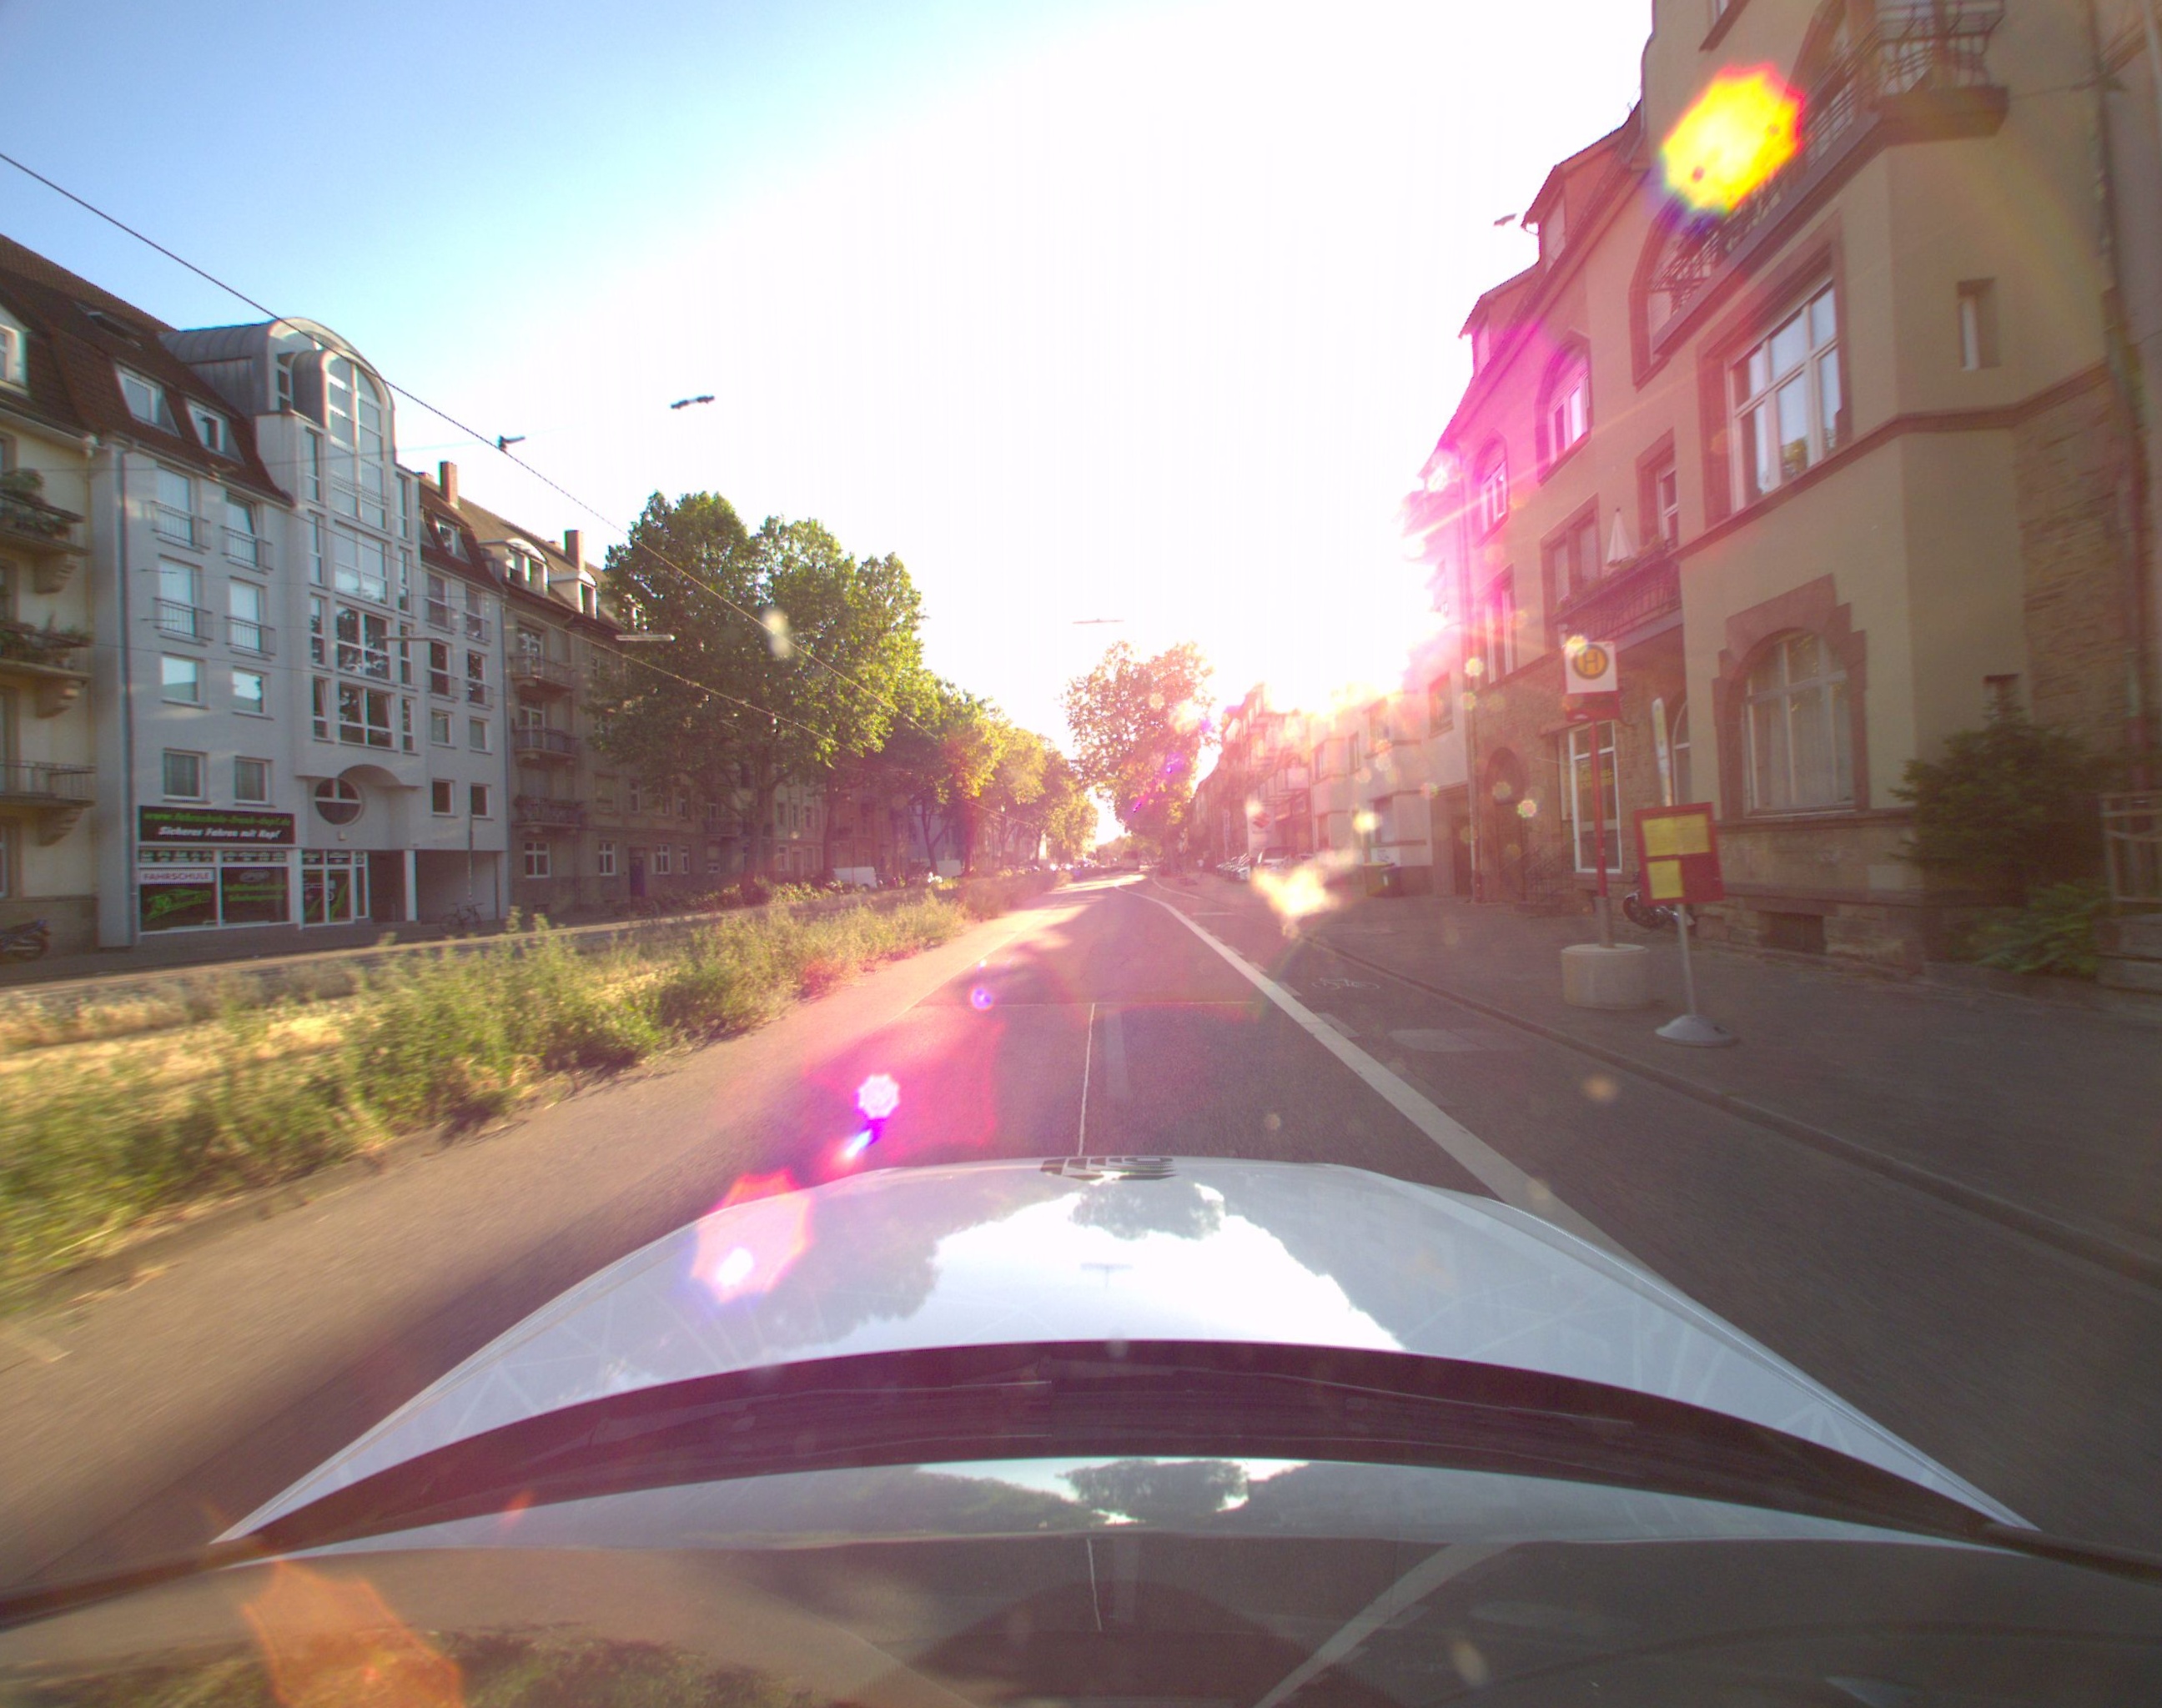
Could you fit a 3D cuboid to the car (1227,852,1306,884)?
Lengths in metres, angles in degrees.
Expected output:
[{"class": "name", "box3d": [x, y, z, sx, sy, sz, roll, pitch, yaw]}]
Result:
[{"class": "car", "box3d": [10.010, 0.725, 44.117, 3.799, 1.501, 1.913, -3, 0, -1]}]

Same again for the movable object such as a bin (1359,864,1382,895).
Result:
[{"class": "movable object such as a bin", "box3d": [9.342, 0.824, 26.295, 0.551, 0.969, 0.586, -3, -2, 7]}]

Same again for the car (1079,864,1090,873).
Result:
[{"class": "car", "box3d": [0.709, 3.007, 167.446, 1.866, 1.694, 4.767, -2, -1, -5]}]

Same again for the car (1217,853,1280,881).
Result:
[{"class": "car", "box3d": [10.068, 0.768, 49.077, 3.406, 1.525, 1.741, -3, -1, 1]}]

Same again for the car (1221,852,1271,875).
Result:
[{"class": "car", "box3d": [12.059, 0.706, 59.794, 3.400, 1.519, 1.760, -3, -2, 7]}]

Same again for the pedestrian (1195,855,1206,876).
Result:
[{"class": "pedestrian", "box3d": [9.244, 0.895, 62.958, 0.660, 1.629, 0.924, -3, -2, 5]}]

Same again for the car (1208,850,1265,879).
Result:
[{"class": "car", "box3d": [10.173, 0.691, 53.456, 3.562, 1.720, 1.685, -3, 1, 6]}]

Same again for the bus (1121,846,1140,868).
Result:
[{"class": "bus", "box3d": [7.689, 0.551, 127.500, 2.822, 3.236, 8.187, -3, -1, 3]}]

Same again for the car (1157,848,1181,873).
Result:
[{"class": "car", "box3d": [8.512, 0.646, 79.184, 1.985, 2.257, 5.240, -3, -1, 4]}]

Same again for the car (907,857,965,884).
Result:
[{"class": "car", "box3d": [-14.982, 1.692, 84.370, 5.534, 2.529, 2.102, -2, -1, -37]}]

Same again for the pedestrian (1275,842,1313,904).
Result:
[{"class": "pedestrian", "box3d": [6.389, 0.569, 24.524, 0.825, 1.812, 1.151, -3, -2, 4]}]

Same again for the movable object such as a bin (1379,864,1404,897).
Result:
[{"class": "movable object such as a bin", "box3d": [9.494, 0.797, 24.889, 0.551, 0.969, 0.586, -3, -2, 7]}]

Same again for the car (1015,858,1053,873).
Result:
[{"class": "car", "box3d": [-8.991, 2.201, 156.662, 6.952, 2.678, 2.173, -2, -2, -16]}]

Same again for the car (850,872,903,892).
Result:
[{"class": "car", "box3d": [-16.512, 2.289, 65.922, 3.746, 1.422, 1.702, -2, -1, -37]}]

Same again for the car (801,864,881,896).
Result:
[{"class": "car", "box3d": [-17.416, 1.844, 59.269, 5.271, 2.066, 1.702, -2, -1, -37]}]

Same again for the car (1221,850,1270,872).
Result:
[{"class": "car", "box3d": [12.623, 0.540, 62.571, 3.404, 1.546, 1.443, -3, -2, 2]}]

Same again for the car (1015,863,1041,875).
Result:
[{"class": "car", "box3d": [-9.092, 2.593, 140.973, 4.009, 1.699, 1.840, -4, -1, -27]}]

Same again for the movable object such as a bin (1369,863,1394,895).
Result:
[{"class": "movable object such as a bin", "box3d": [9.416, 0.793, 25.538, 0.551, 0.969, 0.586, -3, -2, 7]}]

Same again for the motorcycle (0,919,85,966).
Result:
[{"class": "motorcycle", "box3d": [-26.732, 2.240, 20.370, 0.525, 1.021, 2.423, 0, 0, 4]}]

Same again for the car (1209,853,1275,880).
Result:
[{"class": "car", "box3d": [10.131, 0.772, 51.345, 3.803, 1.540, 1.861, -3, -1, 3]}]

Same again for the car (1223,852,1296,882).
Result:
[{"class": "car", "box3d": [10.252, 0.730, 47.016, 3.852, 1.514, 1.811, -3, 0, 3]}]

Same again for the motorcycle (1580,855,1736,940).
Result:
[{"class": "motorcycle", "box3d": [8.645, 0.621, 12.376, 0.587, 1.137, 2.506, -3, -1, 1]}]

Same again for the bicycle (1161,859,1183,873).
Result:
[{"class": "bicycle", "box3d": [7.855, 1.014, 70.517, 1.836, 1.143, 0.348, -3, -2, 4]}]

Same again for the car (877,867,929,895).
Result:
[{"class": "car", "box3d": [-11.094, 1.630, 51.045, 1.708, 1.486, 4.705, -5, -1, 5]}]

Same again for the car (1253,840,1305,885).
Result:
[{"class": "car", "box3d": [9.520, 0.434, 39.538, 1.882, 1.948, 4.911, -3, -1, 8]}]

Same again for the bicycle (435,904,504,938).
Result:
[{"class": "bicycle", "box3d": [-22.369, 2.435, 29.828, 0.751, 1.033, 1.904, 3, 0, 19]}]
